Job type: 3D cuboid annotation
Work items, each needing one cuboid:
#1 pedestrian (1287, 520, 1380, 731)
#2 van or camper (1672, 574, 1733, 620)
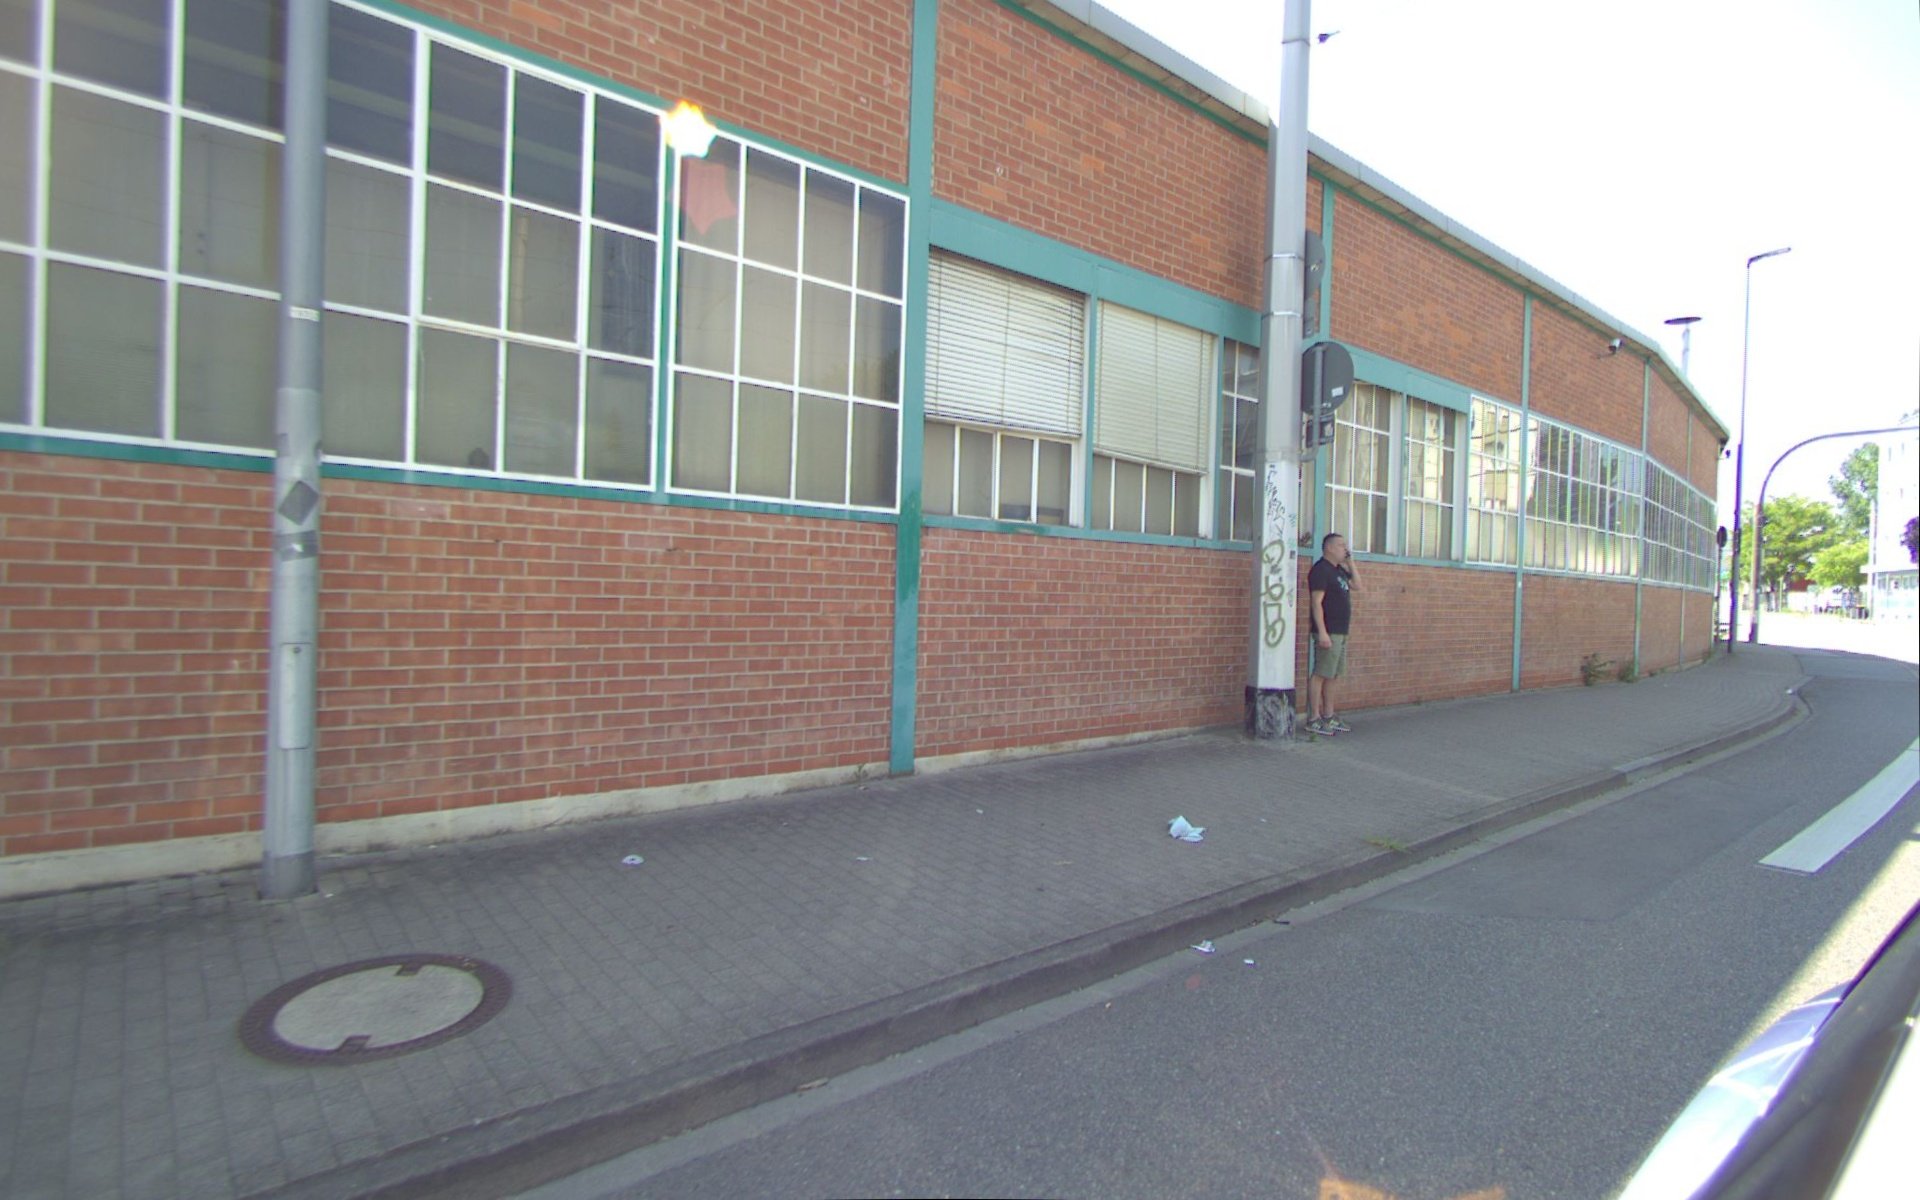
[{"bbox_3d":[3.314,0.225,8.967,0.674,1.787,0.448,4,-2,-40],"label":"pedestrian"},{"bbox_3d":[43.928,-0.206,59.979,2.026,2.565,5.811,2,1,28],"label":"van or camper"}]
